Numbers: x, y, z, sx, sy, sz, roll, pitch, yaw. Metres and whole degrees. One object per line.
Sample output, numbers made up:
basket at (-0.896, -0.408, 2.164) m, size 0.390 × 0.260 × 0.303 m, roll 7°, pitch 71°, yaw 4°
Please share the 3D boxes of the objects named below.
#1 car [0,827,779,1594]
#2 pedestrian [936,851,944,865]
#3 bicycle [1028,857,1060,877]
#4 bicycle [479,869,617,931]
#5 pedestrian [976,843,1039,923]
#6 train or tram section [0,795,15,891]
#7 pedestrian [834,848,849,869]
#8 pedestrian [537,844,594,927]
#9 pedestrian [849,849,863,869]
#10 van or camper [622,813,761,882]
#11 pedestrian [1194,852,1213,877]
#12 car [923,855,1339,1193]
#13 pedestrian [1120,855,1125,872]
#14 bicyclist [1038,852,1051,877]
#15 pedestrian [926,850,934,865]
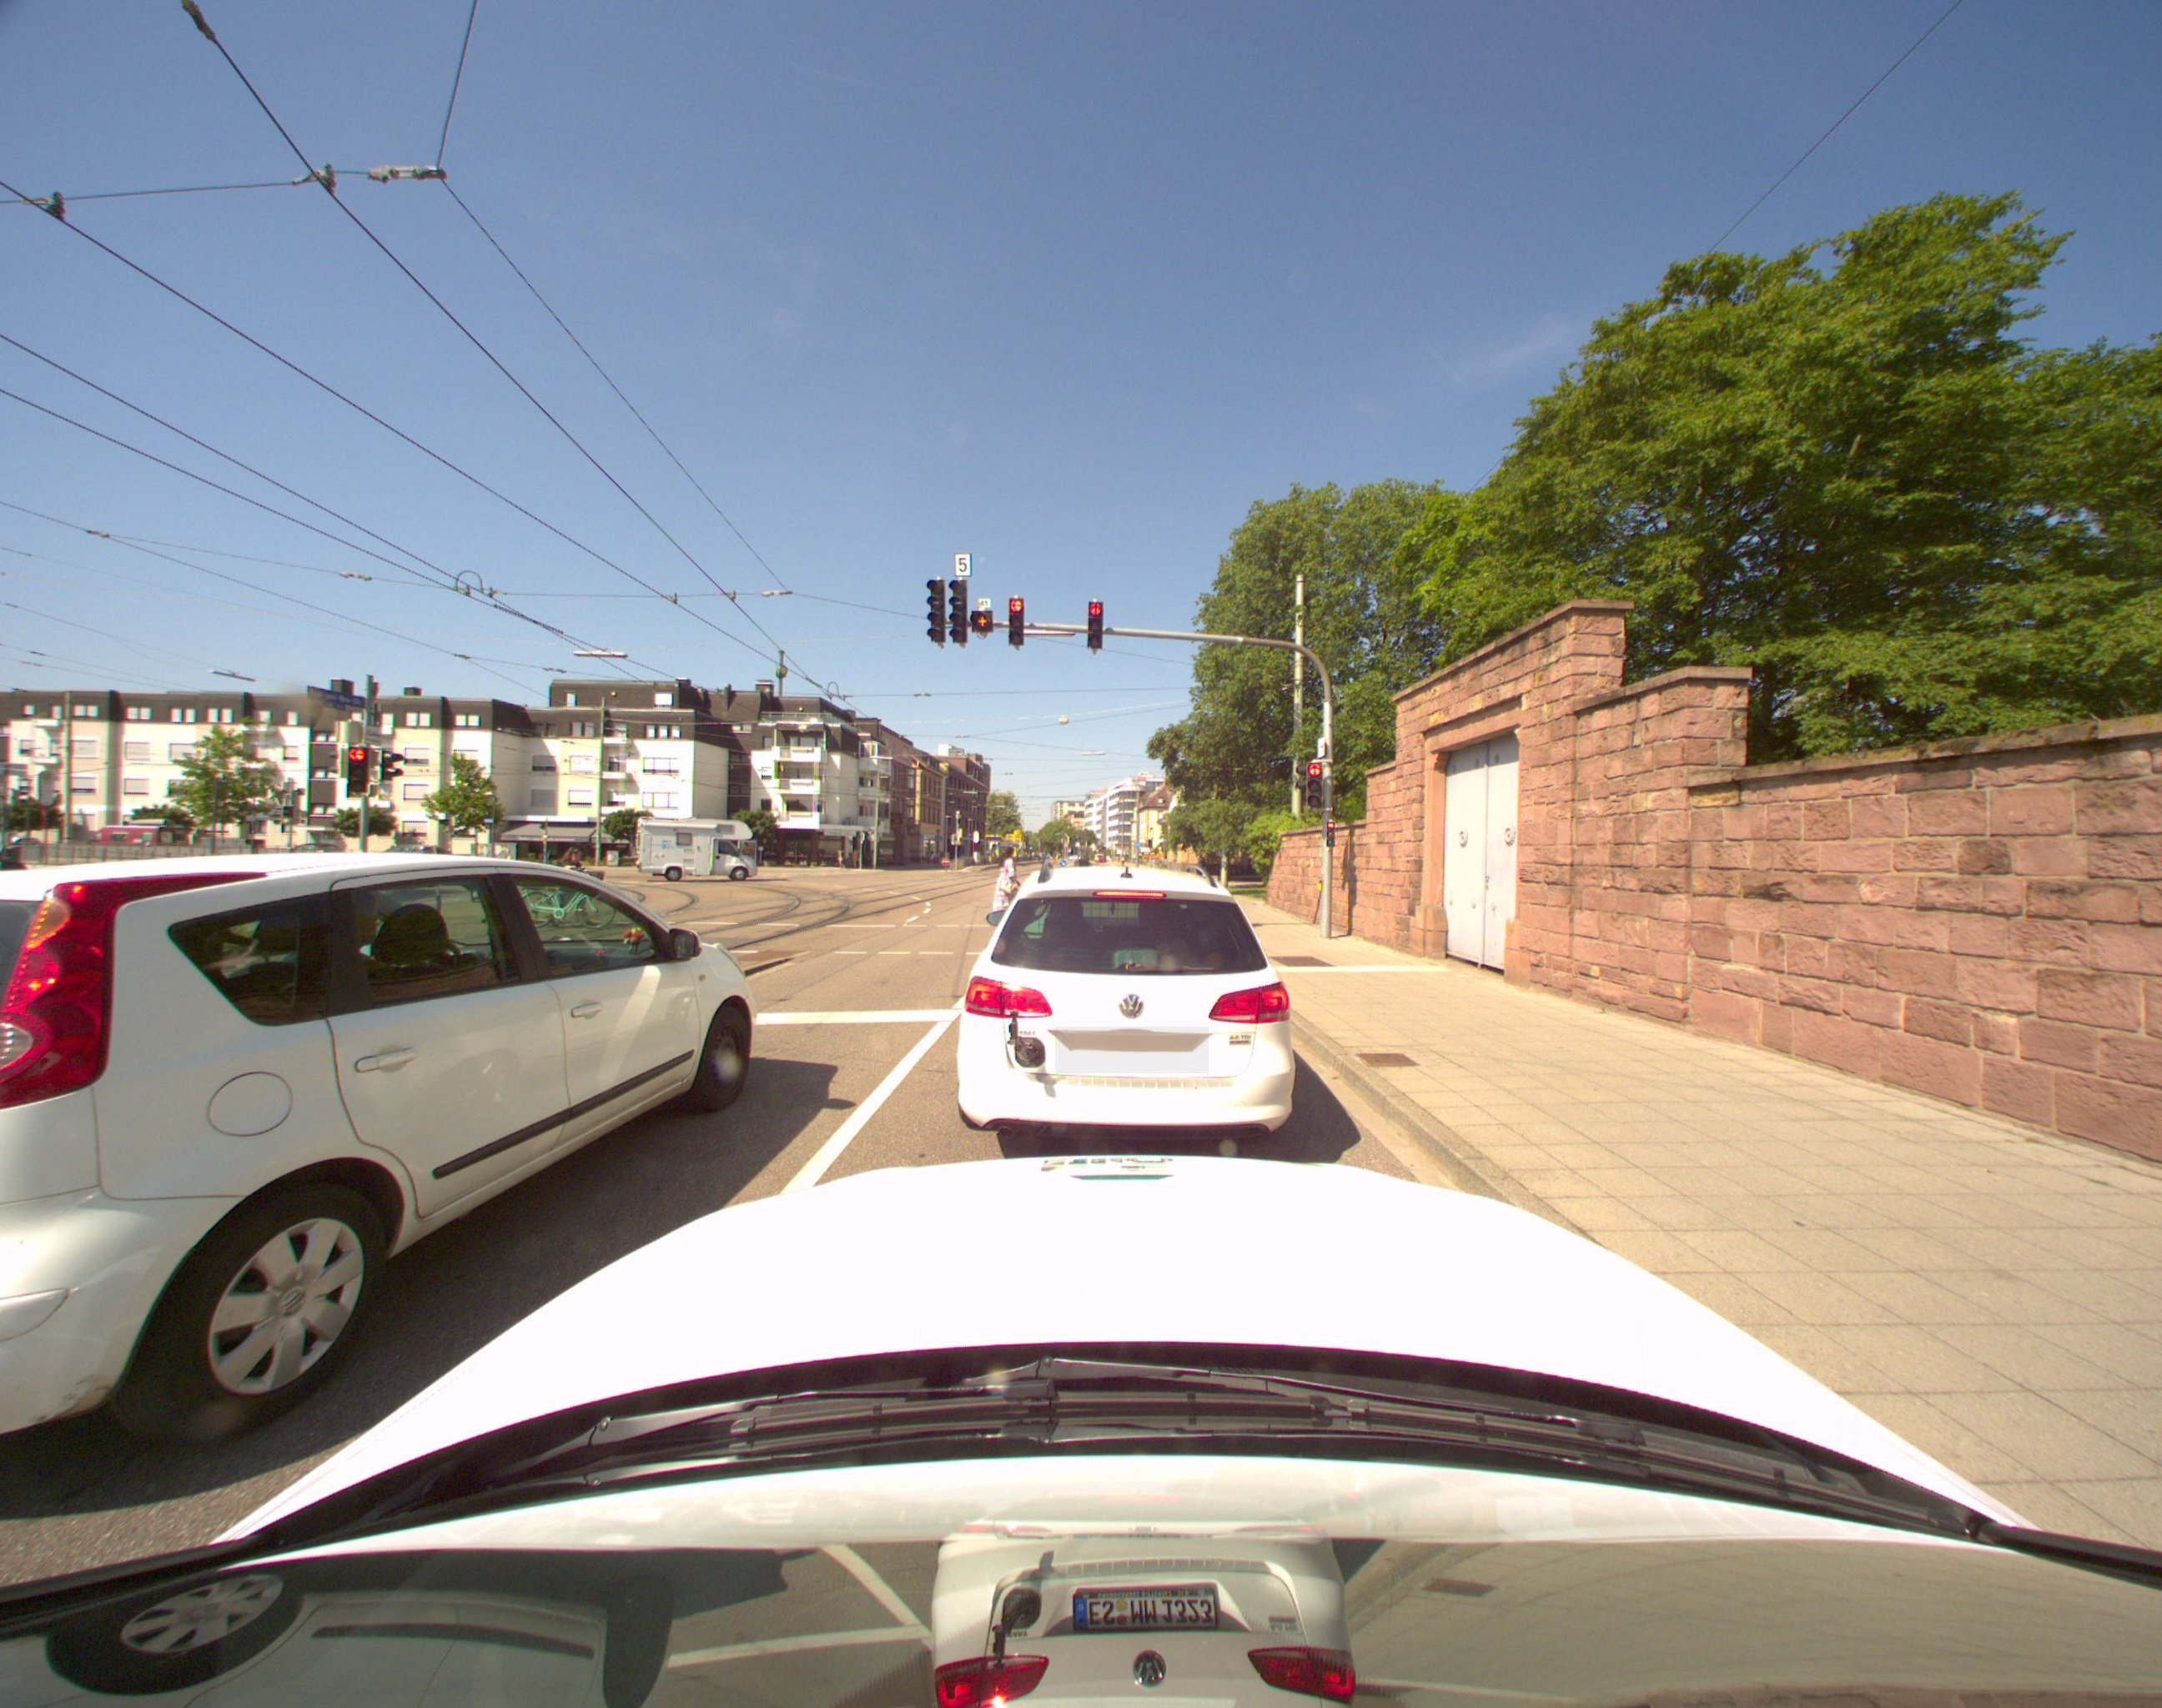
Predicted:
car at (-2.906, 0.714, 3.568) m, size 1.636 × 1.566 × 3.805 m, roll -1°, pitch 1°, yaw 1°
pedestrian at (-17.526, 0.485, 101.518) m, size 0.860 × 1.743 × 0.973 m, roll -1°, pitch -1°, yaw -4°
bicycle at (-2.383, 0.840, 52.746) m, size 0.553 × 1.297 × 2.262 m, roll -2°, pitch -2°, yaw 45°
bicycle at (-9.927, 0.856, 15.253) m, size 2.021 × 1.090 × 0.707 m, roll 1°, pitch 1°, yaw -13°
pedestrian at (-1.584, 0.613, 17.521) m, size 0.980 × 1.651 × 0.944 m, roll 0°, pitch -2°, yaw -40°
train or tram section at (-65.600, -0.494, 41.498) m, size 16.149 × 5.150 × 4.735 m, roll -1°, pitch -1°, yaw 0°
pedestrian at (-20.674, 0.400, 70.361) m, size 0.980 × 1.743 × 0.854 m, roll 0°, pitch -2°, yaw -39°
pedestrian at (-10.069, 0.609, 15.924) m, size 0.746 × 1.572 × 0.672 m, roll -1°, pitch -1°, yaw -13°
pedestrian at (-20.119, 0.426, 72.745) m, size 0.978 × 1.743 × 0.856 m, roll 0°, pitch -2°, yaw -30°
van or camper at (-18.539, -0.267, 38.839) m, size 5.722 × 3.093 × 2.549 m, roll 0°, pitch -1°, yaw -32°
pedestrian at (8.613, 0.754, 57.182) m, size 0.962 × 1.743 × 0.870 m, roll -2°, pitch -2°, yaw 35°
car at (0.273, 0.742, 5.555) m, size 1.801 × 1.448 × 4.001 m, roll 1°, pitch 0°, yaw 1°
pedestrian at (5.798, 1.317, 113.498) m, size 0.687 × 2.325 × 1.233 m, roll -1°, pitch -1°, yaw 3°
bicyclist at (-2.360, 0.657, 52.781) m, size 0.556 × 1.613 × 0.642 m, roll -2°, pitch -2°, yaw 45°
pedestrian at (-17.639, 0.368, 95.153) m, size 0.860 × 1.743 × 0.973 m, roll -1°, pitch -1°, yaw -4°
